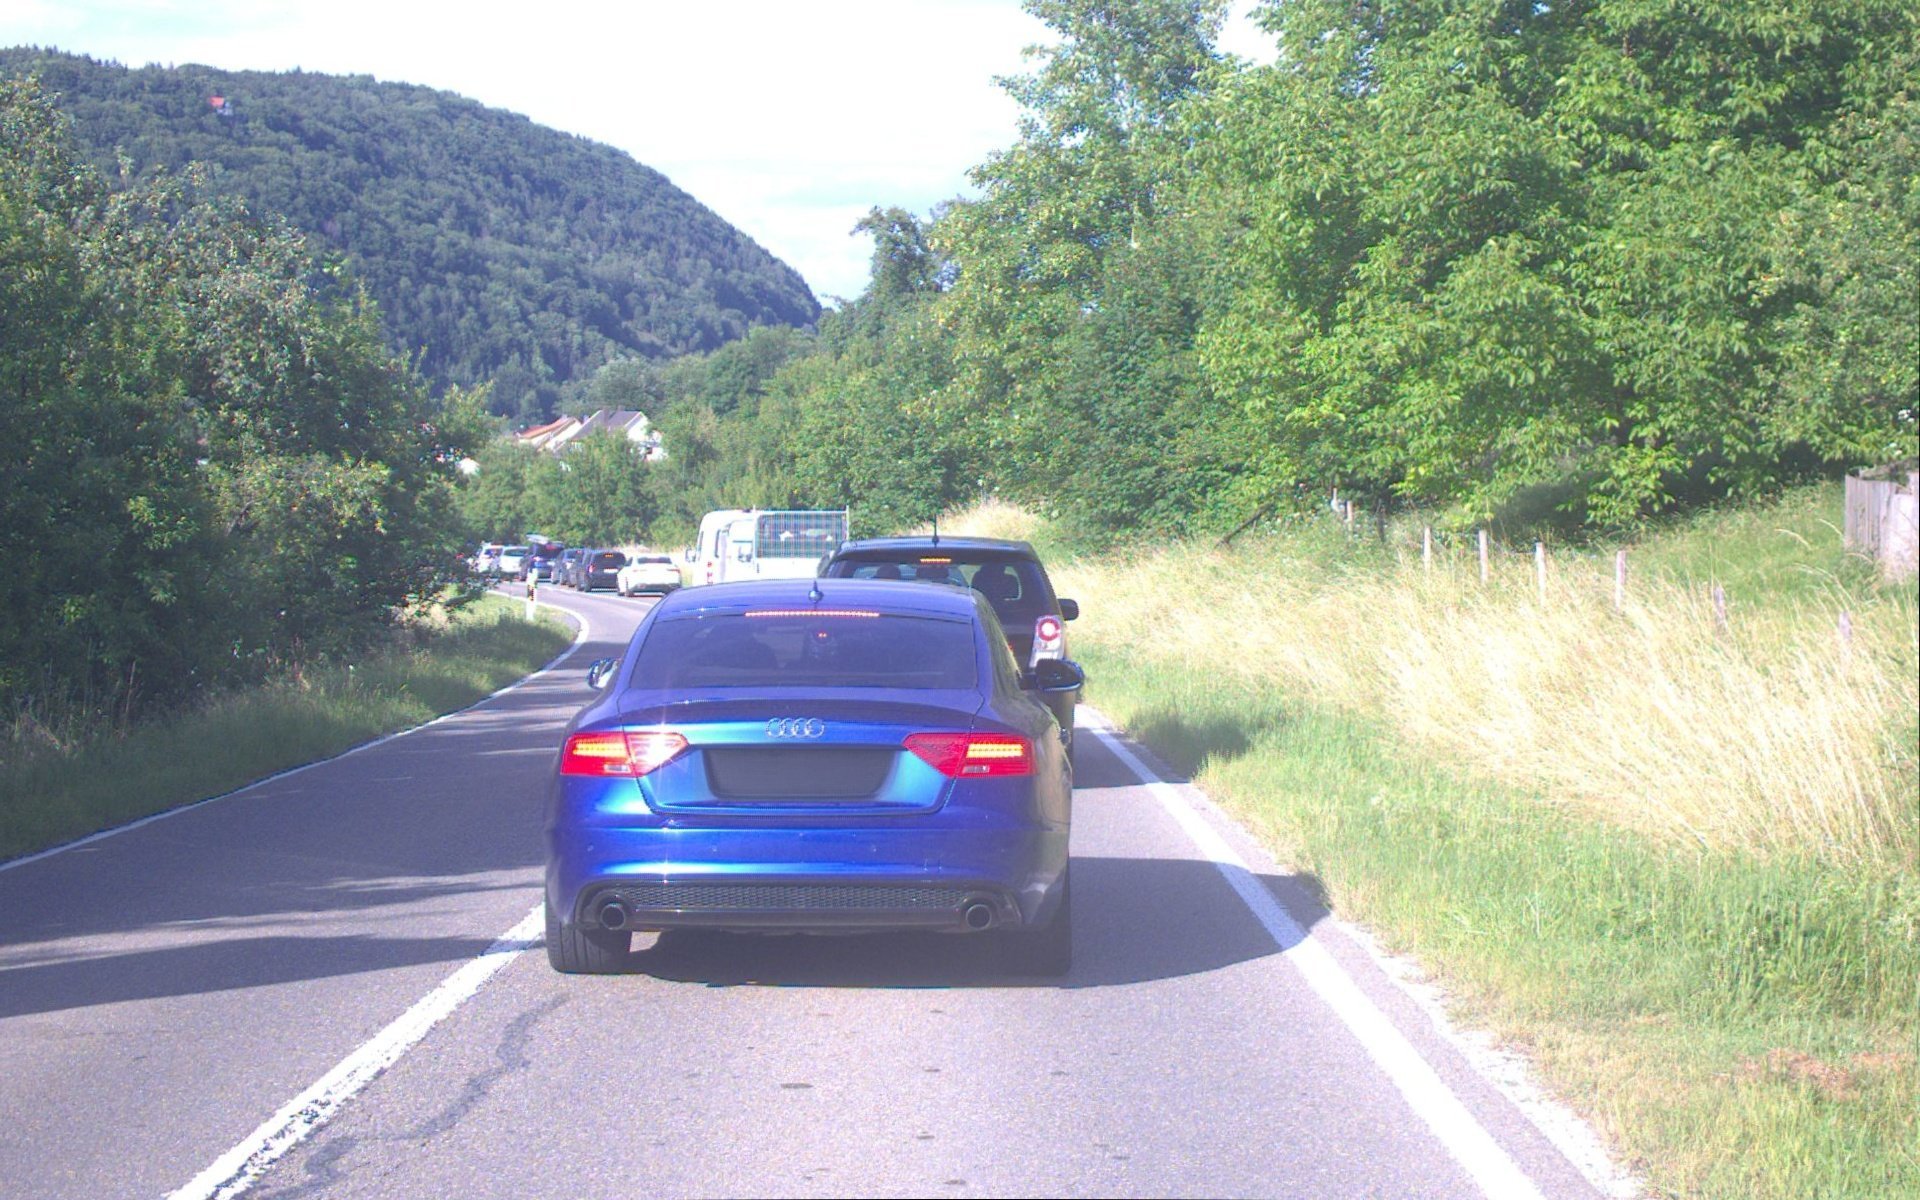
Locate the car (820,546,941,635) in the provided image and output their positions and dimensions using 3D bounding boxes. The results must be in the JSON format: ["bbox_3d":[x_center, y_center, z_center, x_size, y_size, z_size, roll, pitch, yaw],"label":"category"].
[{"bbox_3d":[-1.345,-0.171,59.856,1.993,1.477,4.000,1,0,0],"label":"car"}]

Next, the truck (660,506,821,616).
[{"bbox_3d":[-5.835,-1.022,89.440,2.863,2.656,10.648,1,1,-11],"label":"truck"}]

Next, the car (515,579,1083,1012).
[{"bbox_3d":[-0.482,0.608,12.934,1.794,1.355,4.000,1,0,1],"label":"car"}]

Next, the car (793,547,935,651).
[{"bbox_3d":[-1.398,-0.029,51.602,1.993,1.477,4.000,1,0,0],"label":"car"}]

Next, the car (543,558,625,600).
[{"bbox_3d":[-13.476,-0.749,122.926,1.993,1.477,4.001,1,0,-20],"label":"car"}]

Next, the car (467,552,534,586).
[{"bbox_3d":[-20.422,-1.392,152.670,1.993,1.477,4.001,1,0,-22],"label":"car"}]

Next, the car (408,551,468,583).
[{"bbox_3d":[-25.439,-1.604,167.419,1.993,1.477,4.001,1,0,-22],"label":"car"}]

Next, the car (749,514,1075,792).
[{"bbox_3d":[-0.298,0.314,23.230,1.993,1.696,4.000,1,0,0],"label":"car"}]

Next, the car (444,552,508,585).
[{"bbox_3d":[-22.429,-1.475,159.102,1.993,1.477,4.001,1,0,-22],"label":"car"}]

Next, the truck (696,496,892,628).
[{"bbox_3d":[-3.794,-0.849,75.552,2.863,2.656,10.396,1,1,-11],"label":"truck"}]

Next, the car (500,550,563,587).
[{"bbox_3d":[-17.947,-1.322,143.992,1.993,1.477,4.001,1,0,-16],"label":"car"}]

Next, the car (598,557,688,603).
[{"bbox_3d":[-10.509,-0.653,113.656,1.993,1.477,4.001,1,0,-20],"label":"car"}]
